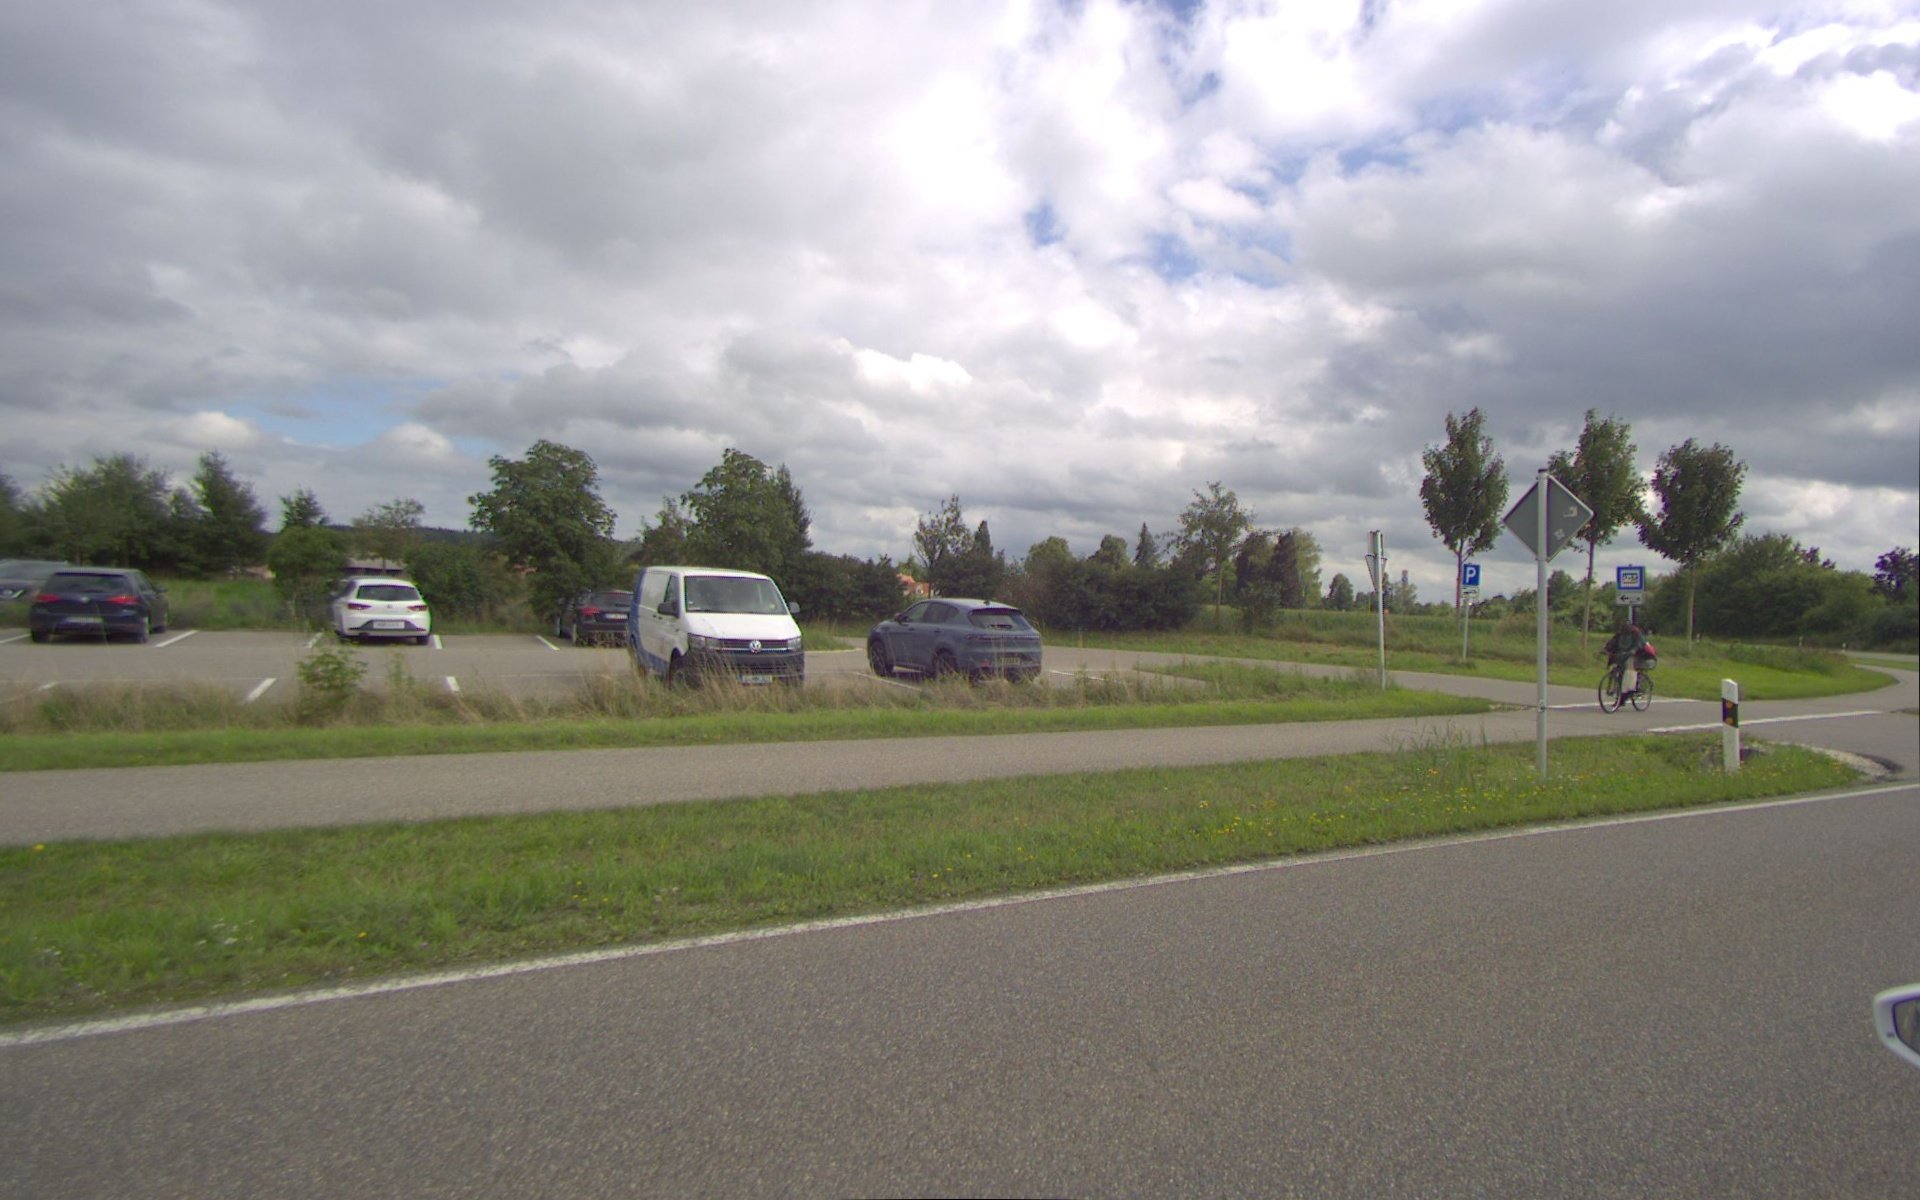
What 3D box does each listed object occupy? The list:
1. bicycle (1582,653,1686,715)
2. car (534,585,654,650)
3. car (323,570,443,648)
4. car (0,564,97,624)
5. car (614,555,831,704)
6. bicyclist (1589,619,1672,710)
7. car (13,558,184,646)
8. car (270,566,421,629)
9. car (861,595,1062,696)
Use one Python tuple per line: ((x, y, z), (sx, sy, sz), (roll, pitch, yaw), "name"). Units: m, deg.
((12.350, 1.525, 18.392), (2.164, 1.046, 0.633), (2, 0, -29), "bicycle")
((-9.536, 0.419, 25.977), (1.825, 1.406, 3.957), (2, 2, -37), "car")
((-13.563, 0.169, 23.490), (1.948, 1.573, 3.957), (2, 2, -37), "car")
((-22.633, -0.179, 24.527), (1.757, 1.357, 3.761), (2, 0, -32), "car")
((-4.042, 0.376, 16.408), (2.033, 2.040, 4.868), (2, 0, -31), "car")
((12.287, 1.161, 18.421), (1.042, 1.586, 0.828), (2, 1, -27), "bicyclist")
((-17.614, -0.011, 20.755), (1.943, 1.573, 3.967), (2, 2, -30), "car")
((-16.709, -0.074, 27.552), (1.742, 1.546, 3.794), (2, 1, 1), "car")
((-0.110, 0.787, 19.184), (1.977, 1.616, 4.227), (2, 0, -30), "car")
